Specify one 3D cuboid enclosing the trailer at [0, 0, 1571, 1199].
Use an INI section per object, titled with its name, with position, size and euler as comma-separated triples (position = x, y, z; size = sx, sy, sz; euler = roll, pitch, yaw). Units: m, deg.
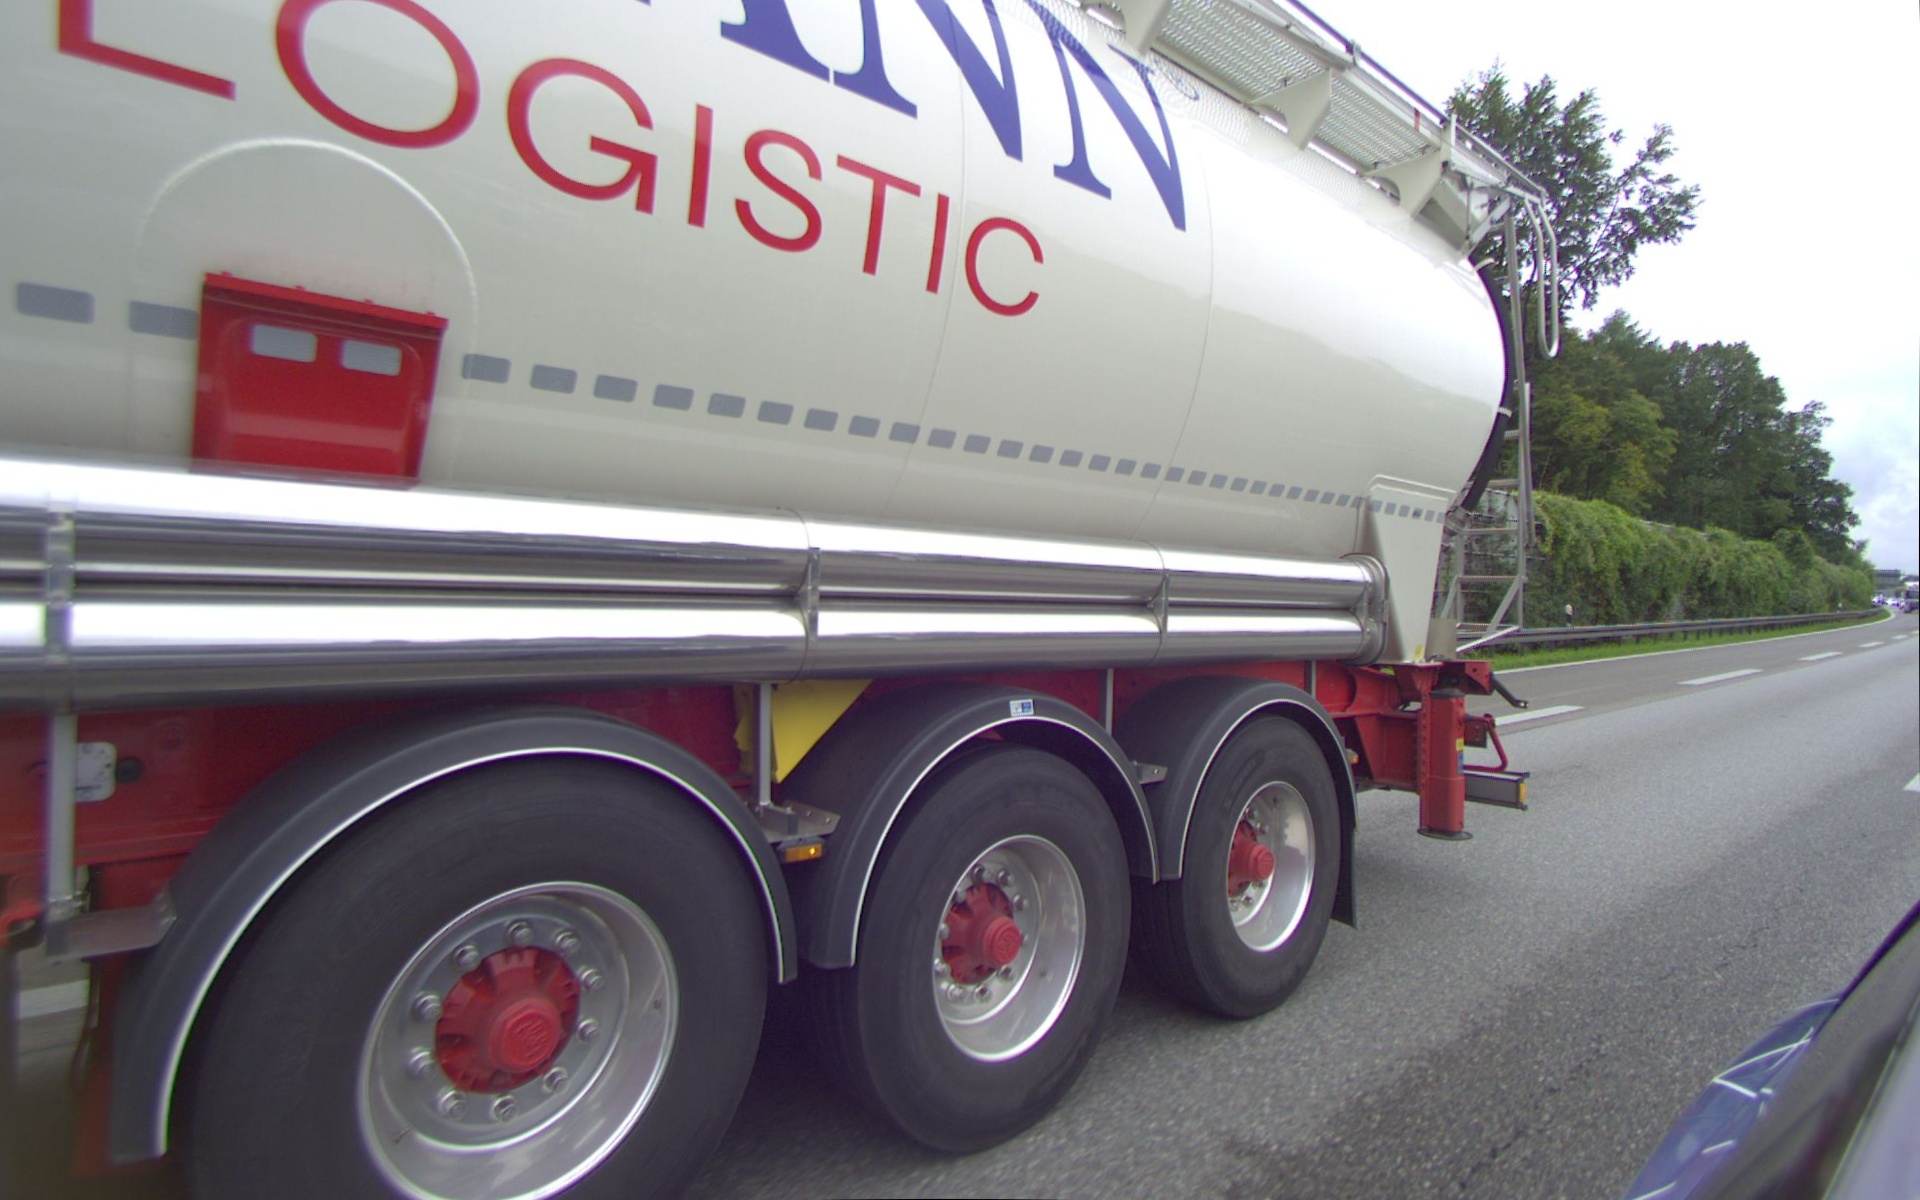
[trailer]
position = -2.560, -0.597, 1.981
size = 12.902, 3.988, 2.672
euler = 0, 1, -41
